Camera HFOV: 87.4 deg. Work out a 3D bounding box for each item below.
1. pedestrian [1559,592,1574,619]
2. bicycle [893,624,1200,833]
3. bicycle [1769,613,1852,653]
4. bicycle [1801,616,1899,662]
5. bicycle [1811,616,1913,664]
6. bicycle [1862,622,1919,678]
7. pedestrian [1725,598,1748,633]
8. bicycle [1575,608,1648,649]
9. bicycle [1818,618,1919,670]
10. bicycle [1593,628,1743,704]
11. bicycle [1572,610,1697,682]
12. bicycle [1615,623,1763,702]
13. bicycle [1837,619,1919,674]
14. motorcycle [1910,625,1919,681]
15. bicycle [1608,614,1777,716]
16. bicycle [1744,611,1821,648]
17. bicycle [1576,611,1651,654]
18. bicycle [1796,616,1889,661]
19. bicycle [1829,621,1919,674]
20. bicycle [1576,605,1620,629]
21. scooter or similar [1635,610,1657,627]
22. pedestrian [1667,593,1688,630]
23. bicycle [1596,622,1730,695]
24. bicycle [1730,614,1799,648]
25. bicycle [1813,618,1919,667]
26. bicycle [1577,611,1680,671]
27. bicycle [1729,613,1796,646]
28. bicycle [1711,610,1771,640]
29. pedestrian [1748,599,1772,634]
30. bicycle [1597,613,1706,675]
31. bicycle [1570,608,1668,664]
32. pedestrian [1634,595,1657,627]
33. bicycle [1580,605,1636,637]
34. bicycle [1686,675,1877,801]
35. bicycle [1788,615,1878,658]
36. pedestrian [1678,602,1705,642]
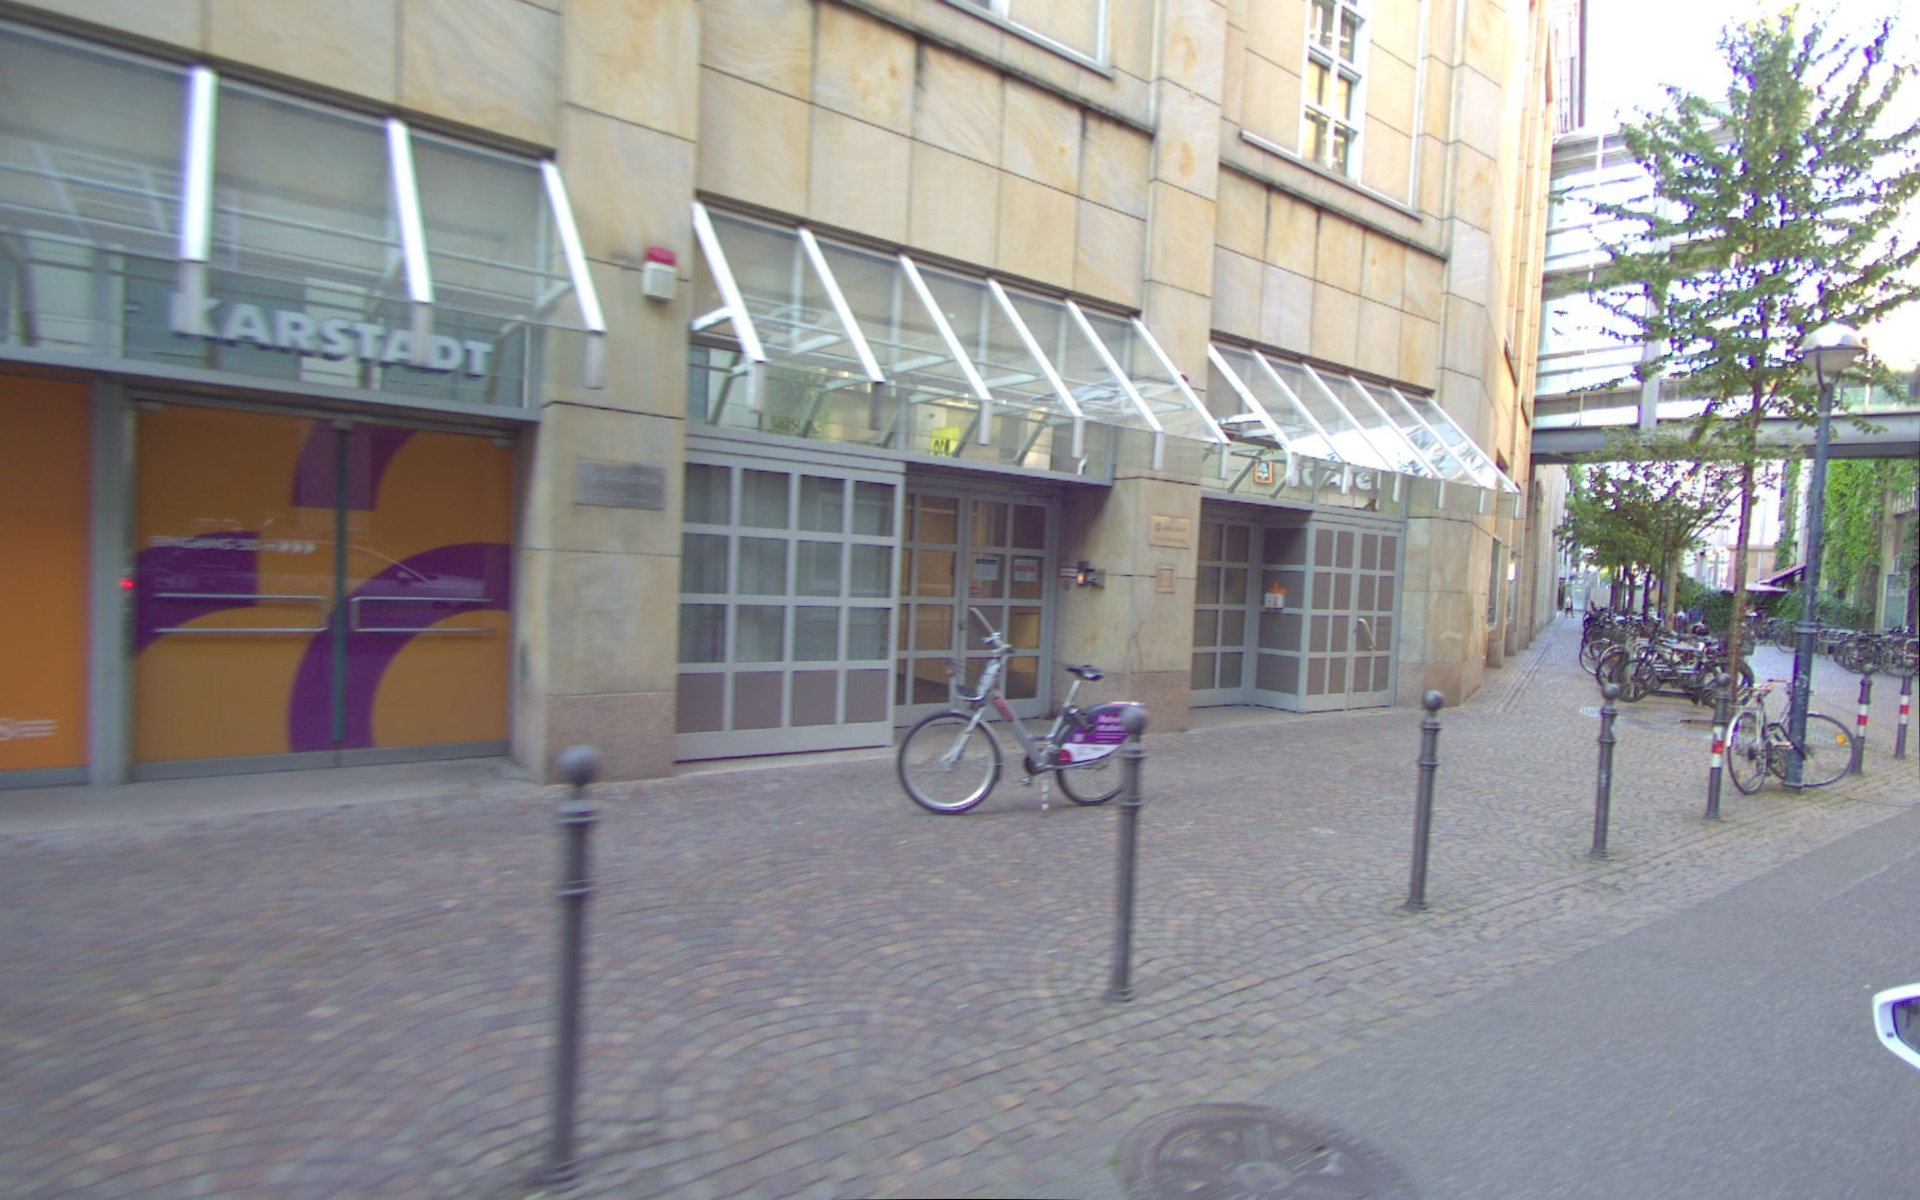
[{"bbox_3d":[41.629,0.357,68.955,0.763,1.828,0.633,3,2,28],"label":"pedestrian"},{"bbox_3d":[0.538,0.751,6.248,1.751,1.127,0.692,2,2,-22],"label":"bicycle"},{"bbox_3d":[27.738,1.066,32.786,1.967,1.198,0.692,2,1,35],"label":"bicycle"},{"bbox_3d":[25.168,1.080,28.439,1.967,1.198,0.692,2,1,35],"label":"bicycle"},{"bbox_3d":[24.718,1.084,27.567,1.967,1.198,0.692,2,1,35],"label":"bicycle"},{"bbox_3d":[21.759,1.142,22.665,1.967,1.198,0.694,2,1,35],"label":"bicycle"},{"bbox_3d":[41.644,0.819,53.880,0.763,1.828,0.766,3,2,28],"label":"pedestrian"},{"bbox_3d":[21.056,0.913,32.501,1.888,1.198,0.693,4,2,37],"label":"bicycle"},{"bbox_3d":[23.195,1.104,25.543,1.967,1.198,0.800,2,1,35],"label":"bicycle"},{"bbox_3d":[11.290,1.030,16.090,1.887,1.007,0.694,4,2,34],"label":"bicycle"},{"bbox_3d":[12.799,0.840,19.094,1.888,1.198,0.693,4,2,37],"label":"bicycle"},{"bbox_3d":[12.018,1.000,16.637,1.887,1.116,0.694,4,2,34],"label":"bicycle"},{"bbox_3d":[22.064,1.093,23.698,1.967,1.198,0.694,2,1,35],"label":"bicycle"},{"bbox_3d":[20.998,1.143,20.883,1.724,1.171,0.592,2,1,37],"label":"motorcycle"},{"bbox_3d":[10.609,0.903,14.643,1.887,1.278,0.806,4,2,34],"label":"bicycle"},{"bbox_3d":[28.489,1.017,34.823,1.967,1.198,0.692,2,1,35],"label":"bicycle"},{"bbox_3d":[20.625,1.016,31.729,1.888,1.198,0.693,4,2,37],"label":"bicycle"},{"bbox_3d":[25.899,1.114,29.521,1.967,1.198,0.692,2,1,35],"label":"bicycle"},{"bbox_3d":[22.562,1.145,24.500,1.967,1.198,0.800,2,1,35],"label":"bicycle"},{"bbox_3d":[34.757,0.922,54.728,1.888,1.198,0.693,4,2,37],"label":"bicycle"},{"bbox_3d":[36.467,0.976,53.394,0.879,0.854,0.909,3,2,32],"label":"scooter or similar"},{"bbox_3d":[37.269,0.591,52.198,0.754,1.828,0.775,3,2,32],"label":"pedestrian"},{"bbox_3d":[12.528,1.011,17.940,1.888,1.116,0.693,4,2,37],"label":"bicycle"},{"bbox_3d":[30.670,1.156,38.316,1.967,1.198,0.692,2,1,35],"label":"bicycle"},{"bbox_3d":[24.089,1.118,26.767,1.967,1.198,0.800,2,1,35],"label":"bicycle"},{"bbox_3d":[15.340,0.918,23.078,1.888,1.198,0.693,4,2,37],"label":"bicycle"},{"bbox_3d":[31.151,1.144,39.022,1.967,1.198,0.692,2,1,35],"label":"bicycle"},{"bbox_3d":[33.600,1.057,43.231,1.967,1.198,0.692,2,1,35],"label":"bicycle"},{"bbox_3d":[42.262,0.871,53.086,0.763,1.828,0.766,3,2,28],"label":"pedestrian"},{"bbox_3d":[15.170,0.942,22.060,1.888,1.198,0.693,4,2,37],"label":"bicycle"},{"bbox_3d":[15.836,0.842,24.157,1.888,1.198,0.693,4,2,37],"label":"bicycle"},{"bbox_3d":[36.953,0.602,54.161,0.879,1.661,0.909,3,2,32],"label":"pedestrian"},{"bbox_3d":[27.174,0.873,42.149,1.888,1.198,0.693,4,2,37],"label":"bicycle"},{"bbox_3d":[7.130,1.164,8.710,1.670,0.979,0.504,2,2,-22],"label":"bicycle"},{"bbox_3d":[26.488,1.085,30.522,1.967,1.198,0.692,2,1,35],"label":"bicycle"},{"bbox_3d":[28.340,0.845,38.925,0.737,1.530,0.636,3,2,32],"label":"pedestrian"}]
